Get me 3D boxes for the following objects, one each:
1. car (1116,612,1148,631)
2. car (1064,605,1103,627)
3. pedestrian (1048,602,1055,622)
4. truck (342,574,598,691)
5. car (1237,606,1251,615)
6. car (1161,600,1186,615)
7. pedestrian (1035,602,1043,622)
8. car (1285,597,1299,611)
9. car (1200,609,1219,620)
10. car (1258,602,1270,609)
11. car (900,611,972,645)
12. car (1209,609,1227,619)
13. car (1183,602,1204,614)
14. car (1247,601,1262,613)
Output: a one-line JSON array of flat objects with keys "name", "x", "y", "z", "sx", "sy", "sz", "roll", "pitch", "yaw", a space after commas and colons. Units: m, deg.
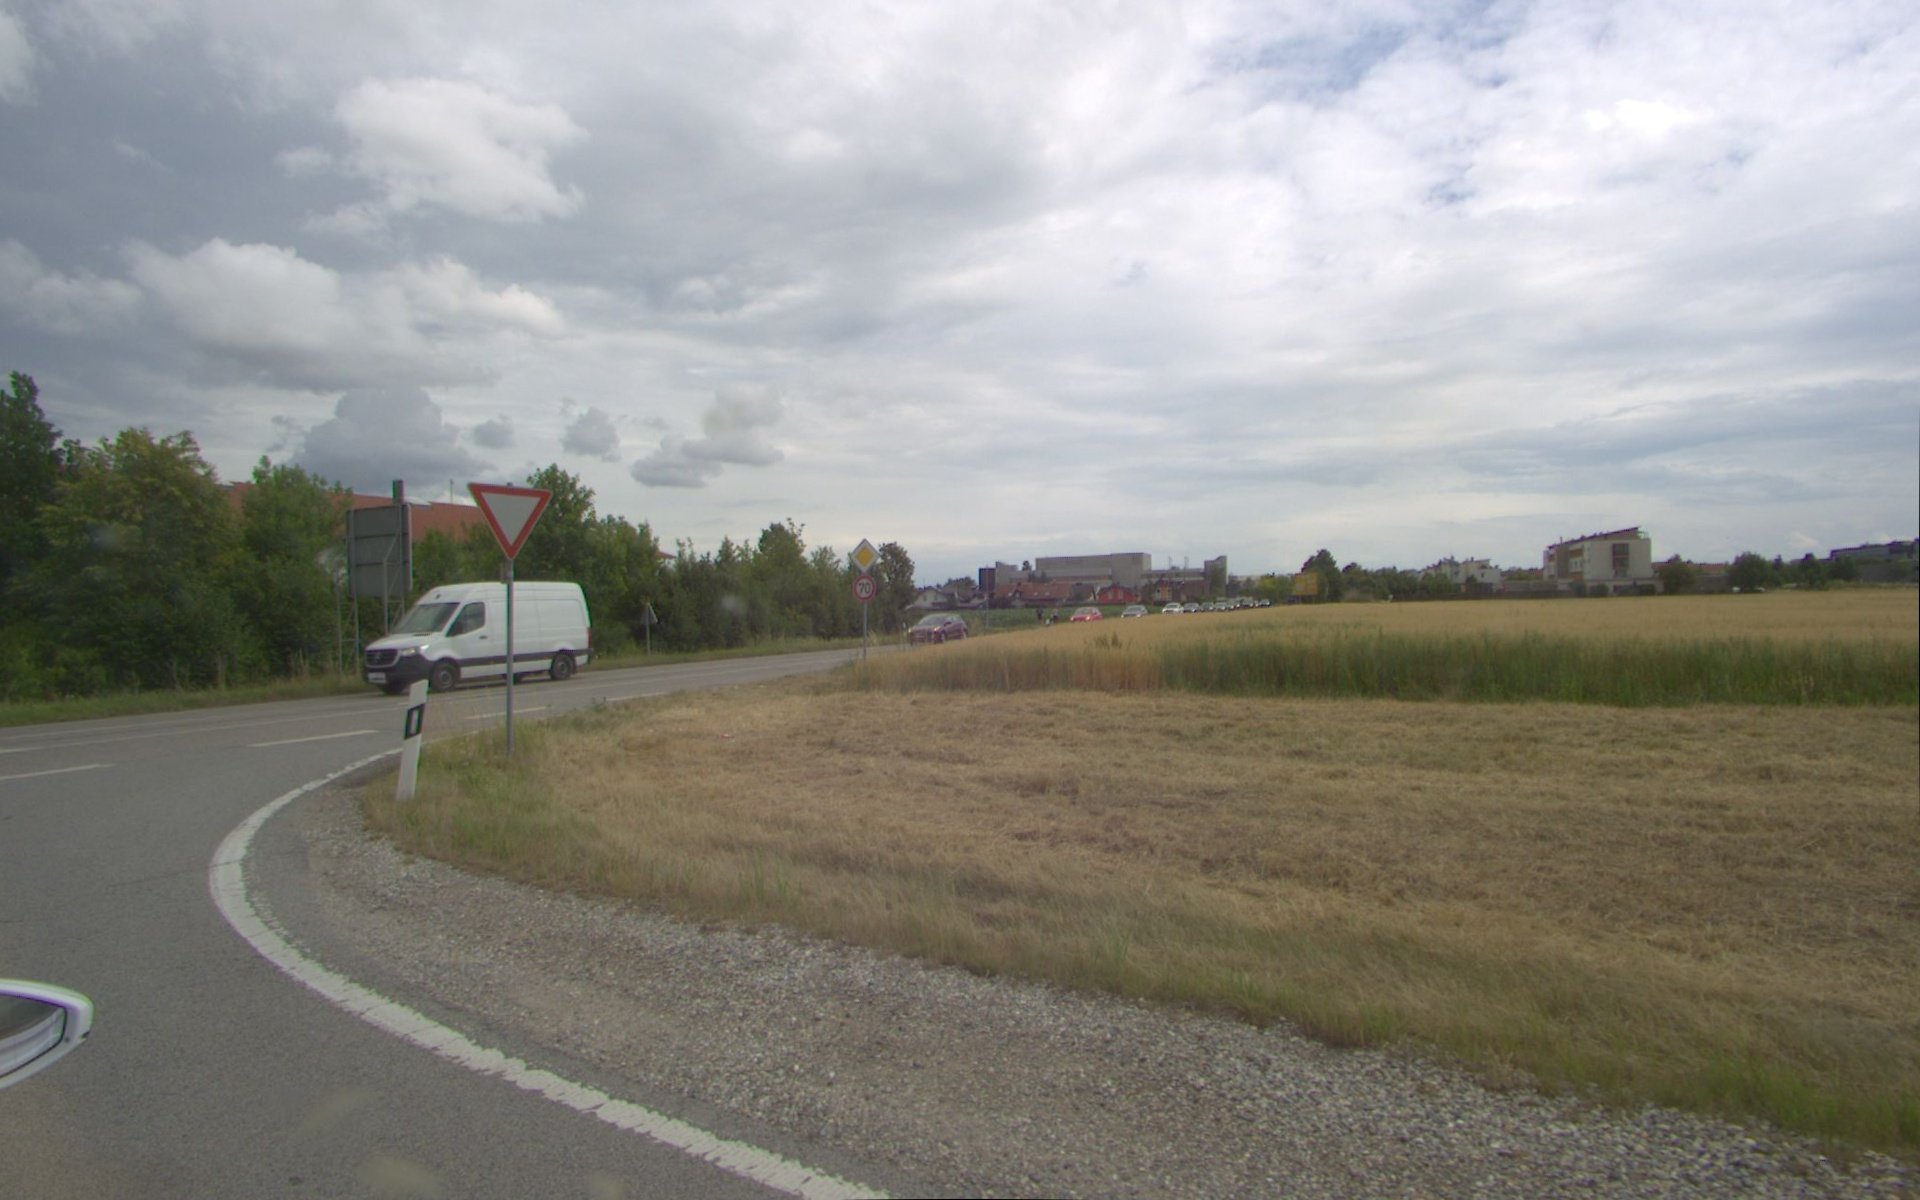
[{"name": "car", "x": 14.700, "y": 1.838, "z": 85.422, "sx": 1.825, "sy": 1.486, "sz": 3.988, "roll": -1, "pitch": 0, "yaw": 23}, {"name": "car", "x": 9.212, "y": 1.182, "z": 74.296, "sx": 1.825, "sy": 1.486, "sz": 3.988, "roll": -1, "pitch": 0, "yaw": 23}, {"name": "pedestrian", "x": 7.954, "y": 1.046, "z": 86.897, "sx": 0.521, "sy": 1.705, "sz": 0.626, "roll": 0, "pitch": 1, "yaw": 19}, {"name": "truck", "x": -12.192, "y": 0.766, "z": 25.555, "sx": 1.967, "sy": 2.609, "sz": 5.999, "roll": -2, "pitch": -1, "yaw": 23}, {"name": "car", "x": 45.311, "y": 1.685, "z": 159.687, "sx": 1.825, "sy": 1.287, "sz": 3.520, "roll": -1, "pitch": 0, "yaw": 22}, {"name": "car", "x": 22.198, "y": 0.784, "z": 103.864, "sx": 1.825, "sy": 1.486, "sz": 3.989, "roll": -1, "pitch": 0, "yaw": 22}, {"name": "pedestrian", "x": 6.901, "y": 1.061, "z": 87.249, "sx": 0.521, "sy": 1.705, "sz": 0.626, "roll": 0, "pitch": 1, "yaw": 19}, {"name": "car", "x": 65.383, "y": 0.757, "z": 197.386, "sx": 2.114, "sy": 2.675, "sz": 5.552, "roll": 0, "pitch": 1, "yaw": 24}, {"name": "car", "x": 31.199, "y": 1.784, "z": 125.119, "sx": 1.825, "sy": 1.287, "sz": 3.520, "roll": -1, "pitch": 0, "yaw": 22}, {"name": "car", "x": 54.904, "y": 1.013, "z": 180.815, "sx": 1.825, "sy": 1.287, "sz": 3.520, "roll": -1, "pitch": 0, "yaw": 22}, {"name": "car", "x": -1.129, "y": 1.345, "z": 49.502, "sx": 1.967, "sy": 1.483, "sz": 4.148, "roll": -2, "pitch": 0, "yaw": 24}, {"name": "car", "x": 34.540, "y": 1.839, "z": 133.886, "sx": 1.825, "sy": 1.287, "sz": 3.520, "roll": -1, "pitch": 0, "yaw": 22}, {"name": "car", "x": 26.698, "y": 0.877, "z": 114.524, "sx": 1.825, "sy": 1.287, "sz": 3.520, "roll": -1, "pitch": 0, "yaw": 22}, {"name": "car", "x": 49.525, "y": 1.182, "z": 168.304, "sx": 1.966, "sy": 2.041, "sz": 3.988, "roll": 0, "pitch": 1, "yaw": 22}]
